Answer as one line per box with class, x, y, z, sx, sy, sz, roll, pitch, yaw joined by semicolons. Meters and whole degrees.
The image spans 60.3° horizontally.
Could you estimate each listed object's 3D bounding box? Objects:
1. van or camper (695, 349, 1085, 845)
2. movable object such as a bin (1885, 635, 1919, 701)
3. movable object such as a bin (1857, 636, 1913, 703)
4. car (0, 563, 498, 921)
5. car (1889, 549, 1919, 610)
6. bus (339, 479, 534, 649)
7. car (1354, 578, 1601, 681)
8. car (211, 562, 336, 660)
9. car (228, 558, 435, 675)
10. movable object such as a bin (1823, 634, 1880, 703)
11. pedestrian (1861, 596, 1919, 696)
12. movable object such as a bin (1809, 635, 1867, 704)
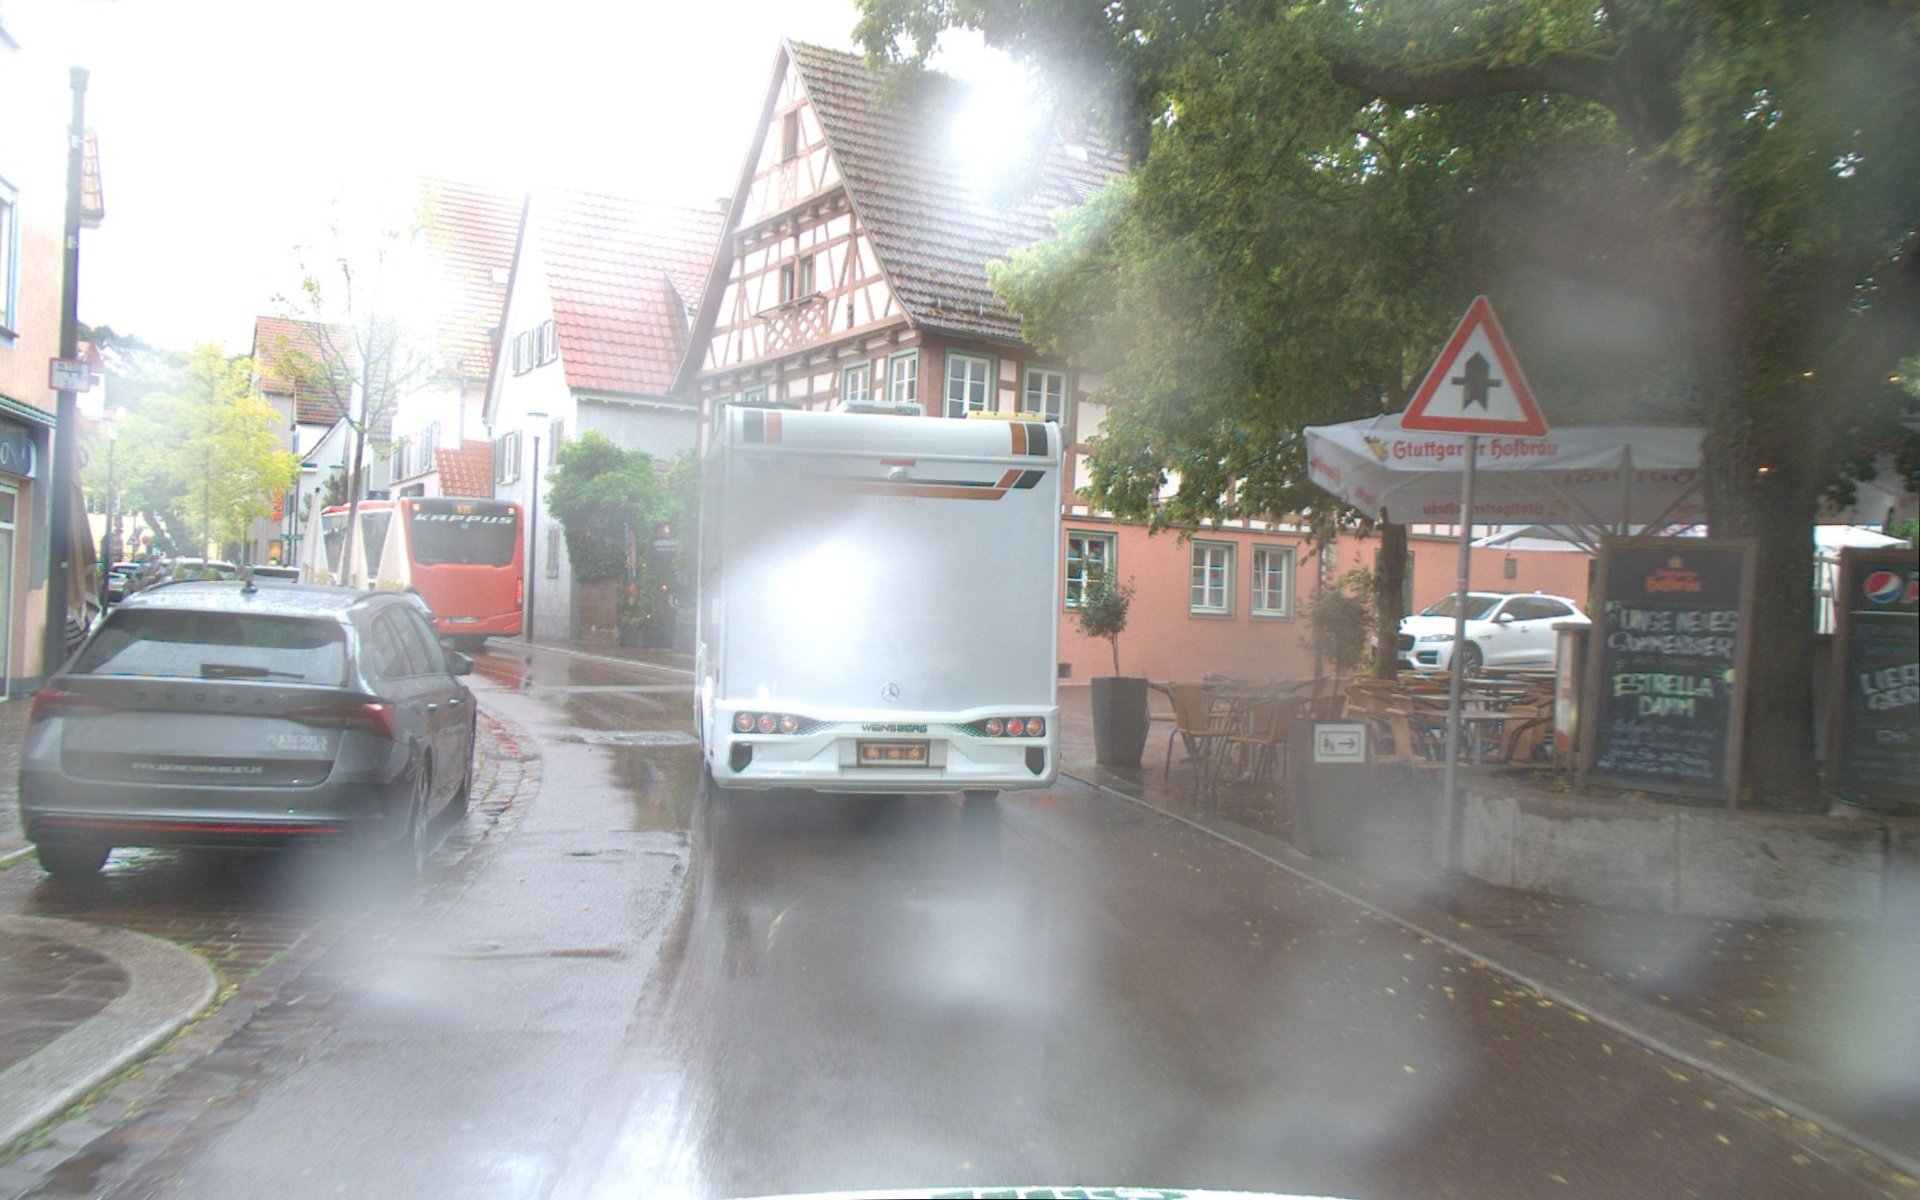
van or camper;-0.908;0.024;13.272;2.283;2.970;6.378;1;-1;-10
movable object such as a bin;16.405;1.160;28.463;0.647;1.113;0.600;2;-1;-32
movable object such as a bin;15.666;1.167;28.013;0.647;1.113;0.600;2;-1;-32
car;-3.760;0.616;9.143;1.958;1.480;4.361;1;-1;-11
car;26.374;-0.497;43.525;3.957;1.557;1.974;2;-1;-37
bus;-11.413;-0.676;35.638;2.613;3.283;6.535;2;-1;-30
car;9.503;0.543;30.280;4.410;1.659;1.923;2;2;-33
car;-12.061;0.192;28.936;1.575;1.573;3.938;1;-1;-29
car;-9.484;0.205;24.740;1.786;1.457;4.572;4;-1;-35
movable object such as a bin;14.837;1.133;27.534;0.647;1.113;0.600;2;-1;-32
pedestrian;14.824;0.722;26.138;0.833;1.544;0.750;2;-1;-39
movable object such as a bin;14.339;1.130;27.020;0.647;1.113;0.600;2;-1;-32
